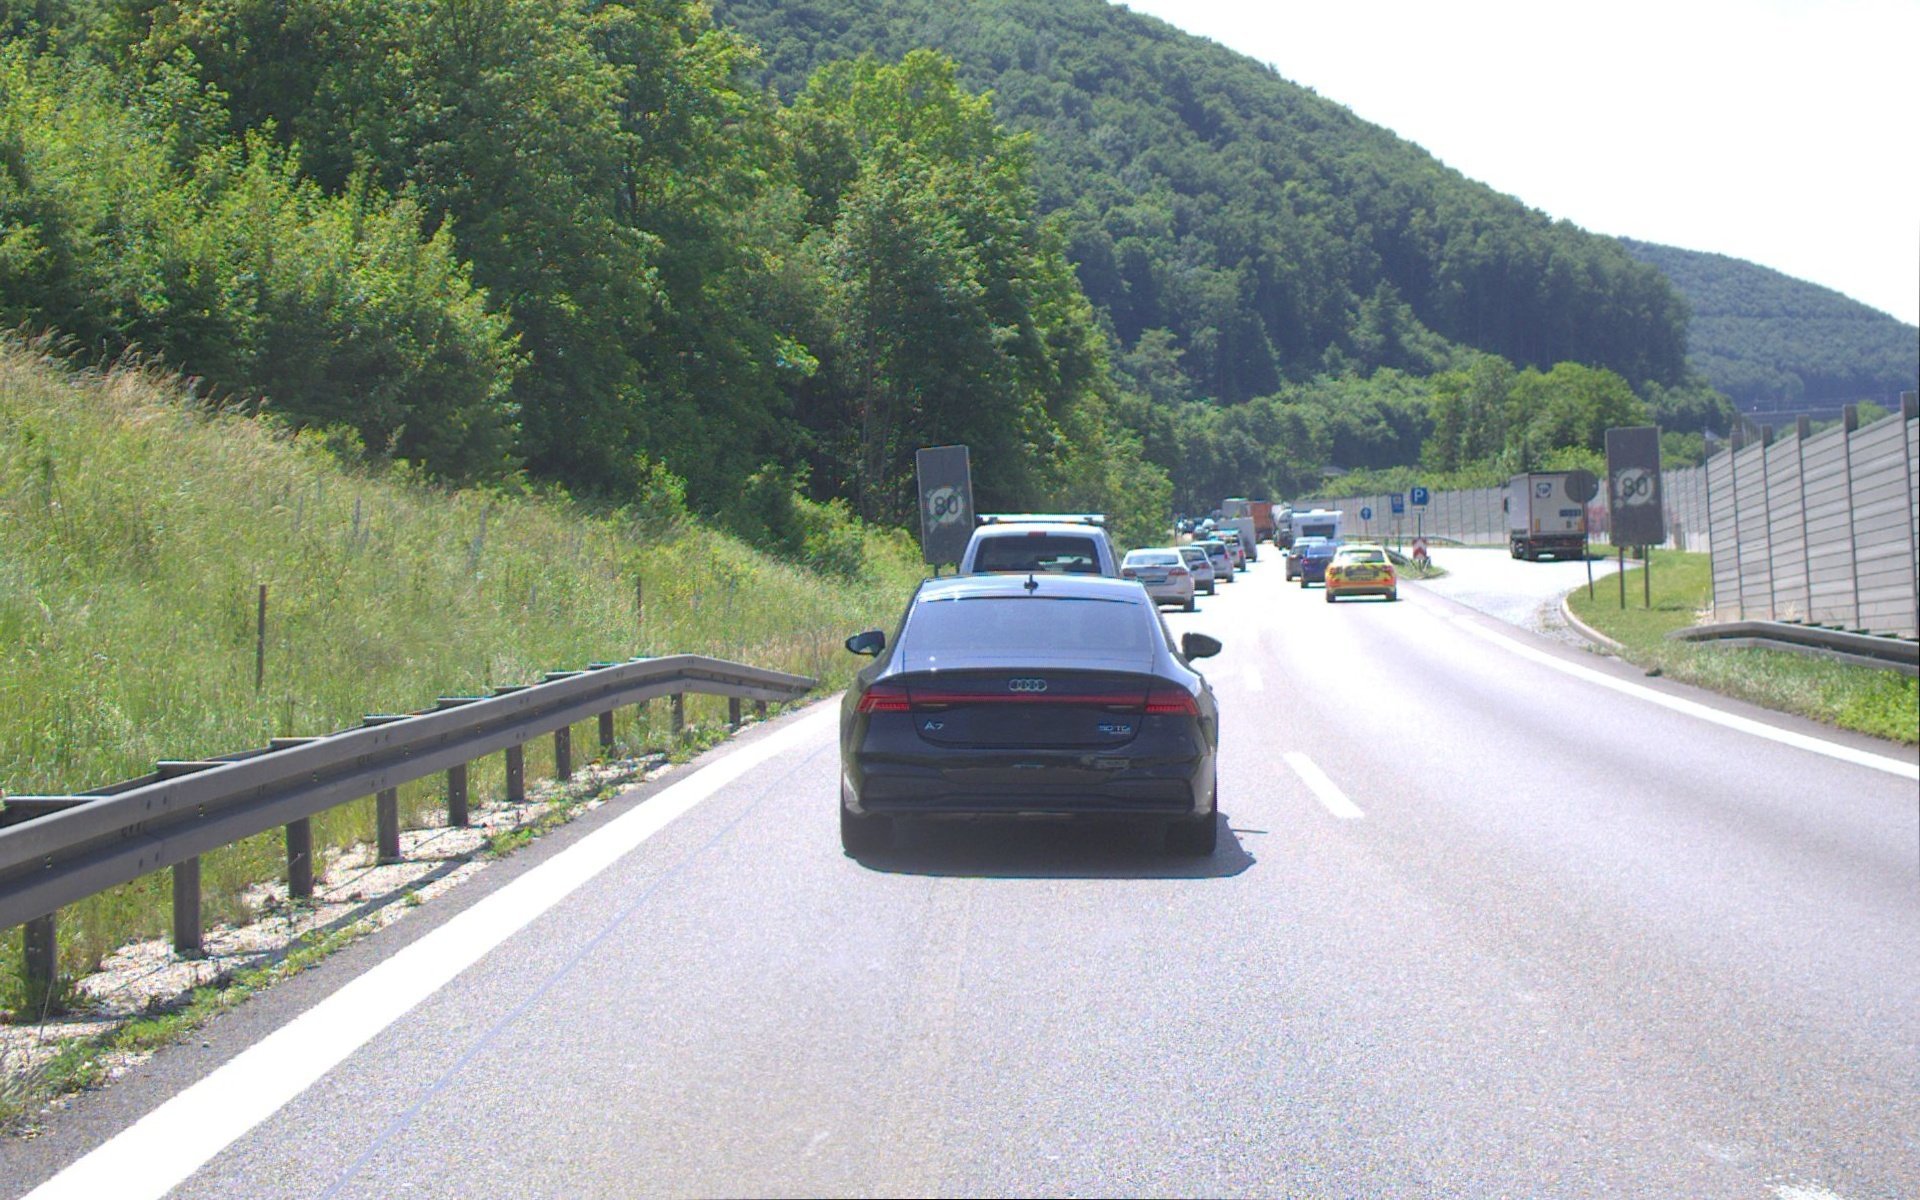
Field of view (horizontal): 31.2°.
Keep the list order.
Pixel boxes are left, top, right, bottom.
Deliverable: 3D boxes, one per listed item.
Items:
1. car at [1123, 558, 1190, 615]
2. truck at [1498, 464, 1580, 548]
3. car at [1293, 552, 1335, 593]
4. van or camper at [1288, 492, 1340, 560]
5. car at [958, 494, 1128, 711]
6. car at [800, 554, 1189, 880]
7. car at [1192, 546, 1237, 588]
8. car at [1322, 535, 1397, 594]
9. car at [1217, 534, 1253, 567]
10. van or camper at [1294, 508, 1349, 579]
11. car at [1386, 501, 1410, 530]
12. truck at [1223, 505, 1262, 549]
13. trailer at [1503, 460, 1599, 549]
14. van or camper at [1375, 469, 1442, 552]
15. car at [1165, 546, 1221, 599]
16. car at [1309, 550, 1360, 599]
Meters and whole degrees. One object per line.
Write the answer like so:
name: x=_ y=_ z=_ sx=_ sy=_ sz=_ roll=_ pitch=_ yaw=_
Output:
car: x=4.618 y=-0.334 z=80.821 sx=1.521 sy=1.290 sz=3.514 roll=1 pitch=1 yaw=3
truck: x=27.420 y=-4.425 z=162.927 sx=3.412 sy=3.887 sz=5.386 roll=0 pitch=1 yaw=5
car: x=13.457 y=-1.033 z=130.631 sx=1.530 sy=1.520 sz=3.596 roll=1 pitch=0 yaw=6
van or camper: x=21.053 y=-4.371 z=204.614 sx=2.795 sy=3.894 sz=6.166 roll=1 pitch=0 yaw=4
car: x=0.802 y=0.000 z=33.566 sx=1.521 sy=1.961 sz=3.514 roll=2 pitch=1 yaw=1
car: x=0.275 y=0.520 z=17.849 sx=1.812 sy=1.509 sz=3.514 roll=0 pitch=1 yaw=4
car: x=9.793 y=-1.259 z=132.021 sx=1.521 sy=1.547 sz=3.513 roll=2 pitch=1 yaw=7
car: x=10.435 y=-0.931 z=89.888 sx=1.879 sy=1.493 sz=3.999 roll=0 pitch=1 yaw=6
car: x=13.411 y=-2.386 z=167.534 sx=1.521 sy=1.547 sz=3.513 roll=2 pitch=1 yaw=7
van or camper: x=16.604 y=-2.569 z=158.205 sx=2.430 sy=3.144 sz=5.202 roll=1 pitch=0 yaw=6
car: x=31.275 y=-6.025 z=245.780 sx=1.576 sy=2.007 sz=3.427 roll=-1 pitch=1 yaw=6
truck: x=17.437 y=-4.475 z=212.186 sx=2.065 sy=2.596 sz=5.612 roll=2 pitch=1 yaw=7
trailer: x=26.911 y=-4.308 z=157.043 sx=3.412 sy=3.887 sz=11.149 roll=0 pitch=1 yaw=5
van or camper: x=21.764 y=-4.317 z=167.054 sx=2.795 sy=3.828 sz=6.166 roll=1 pitch=0 yaw=4
car: x=7.093 y=-0.847 z=104.461 sx=1.521 sy=1.547 sz=3.513 roll=2 pitch=1 yaw=6
car: x=11.955 y=-0.799 z=109.865 sx=1.530 sy=1.520 sz=3.596 roll=1 pitch=0 yaw=6
